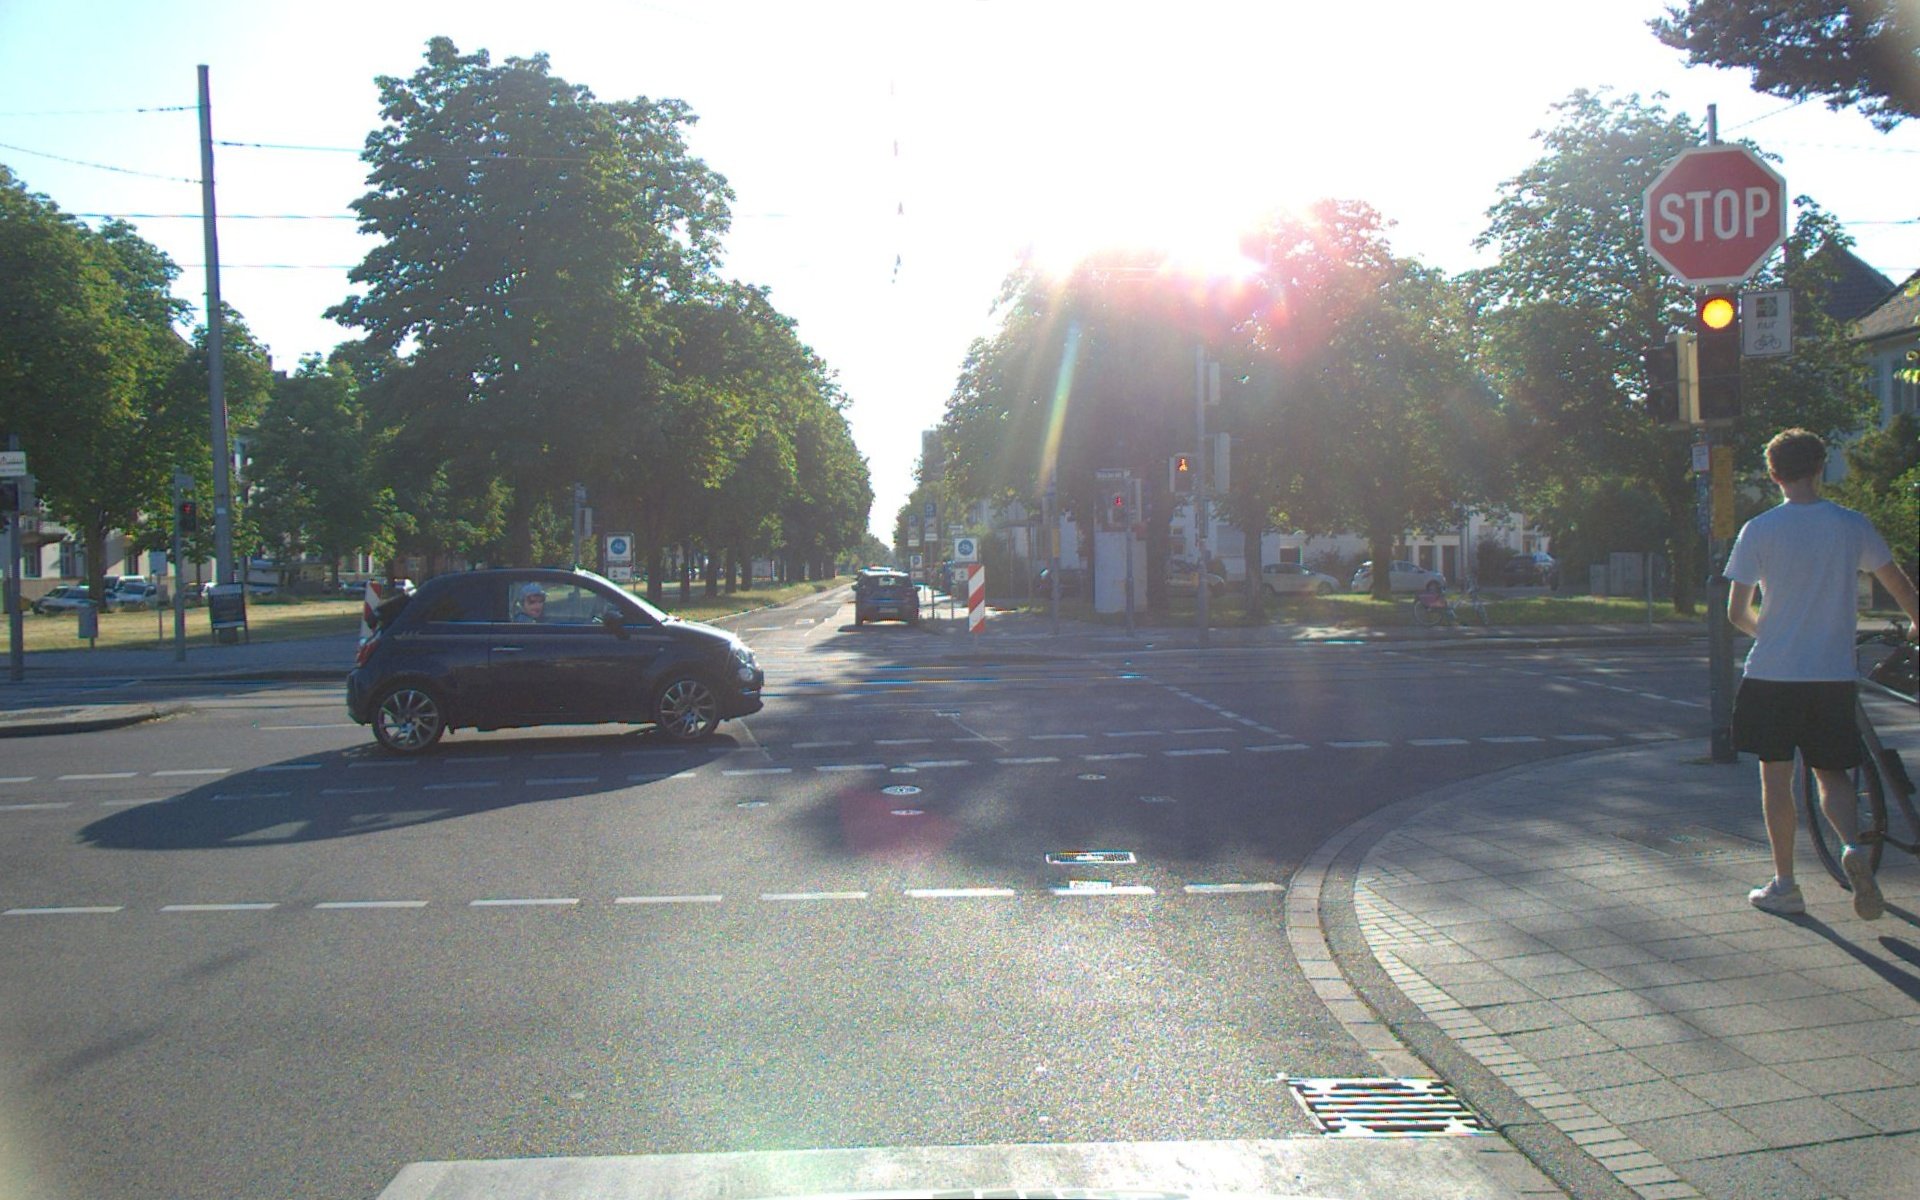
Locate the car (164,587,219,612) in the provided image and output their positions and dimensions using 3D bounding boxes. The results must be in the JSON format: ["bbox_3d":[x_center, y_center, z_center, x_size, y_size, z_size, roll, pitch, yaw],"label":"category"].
[{"bbox_3d":[-47.515,-0.025,102.270,1.703,1.452,3.791,-1,1,-2],"label":"car"}]

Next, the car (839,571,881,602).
[{"bbox_3d":[-4.722,-0.648,78.502,1.808,1.418,3.828,0,1,-2],"label":"car"}]

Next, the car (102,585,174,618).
[{"bbox_3d":[-40.409,0.062,81.432,1.703,1.451,3.792,-1,2,-2],"label":"car"}]

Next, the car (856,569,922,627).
[{"bbox_3d":[-1.877,-0.082,44.559,1.607,1.476,3.307,-1,1,0],"label":"car"}]

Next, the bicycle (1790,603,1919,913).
[{"bbox_3d":[3.862,0.613,6.379,0.477,1.116,1.792,-3,1,4],"label":"bicycle"}]

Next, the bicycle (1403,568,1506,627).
[{"bbox_3d":[10.070,-0.059,33.724,1.914,1.152,0.620,-1,1,0],"label":"bicycle"}]

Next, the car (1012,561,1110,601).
[{"bbox_3d":[3.993,-0.765,65.763,3.704,1.451,1.743,-1,2,-3],"label":"car"}]

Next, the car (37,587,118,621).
[{"bbox_3d":[-40.103,0.156,75.256,1.703,1.452,3.791,-1,1,-2],"label":"car"}]

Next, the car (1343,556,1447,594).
[{"bbox_3d":[17.616,-1.003,67.028,3.772,1.452,1.595,-1,1,-7],"label":"car"}]

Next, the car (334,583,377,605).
[{"bbox_3d":[-42.430,-0.430,116.094,1.703,1.452,3.791,0,1,-2],"label":"car"}]

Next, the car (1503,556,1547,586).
[{"bbox_3d":[28.992,-1.499,84.799,1.631,1.442,3.539,-1,1,27],"label":"car"}]

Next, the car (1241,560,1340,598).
[{"bbox_3d":[13.210,-0.850,66.184,3.593,1.452,1.529,-1,1,-7],"label":"car"}]

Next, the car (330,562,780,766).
[{"bbox_3d":[-3.432,0.485,14.349,3.533,1.523,1.607,-2,2,-13],"label":"car"}]

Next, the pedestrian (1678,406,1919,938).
[{"bbox_3d":[3.351,0.248,6.436,0.656,1.897,0.882,-4,1,4],"label":"pedestrian"}]

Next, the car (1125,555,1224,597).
[{"bbox_3d":[8.567,-0.975,66.165,3.704,1.552,1.743,-1,2,-3],"label":"car"}]

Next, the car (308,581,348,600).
[{"bbox_3d":[-48.201,-0.739,126.195,1.703,1.452,3.791,0,1,-2],"label":"car"}]
